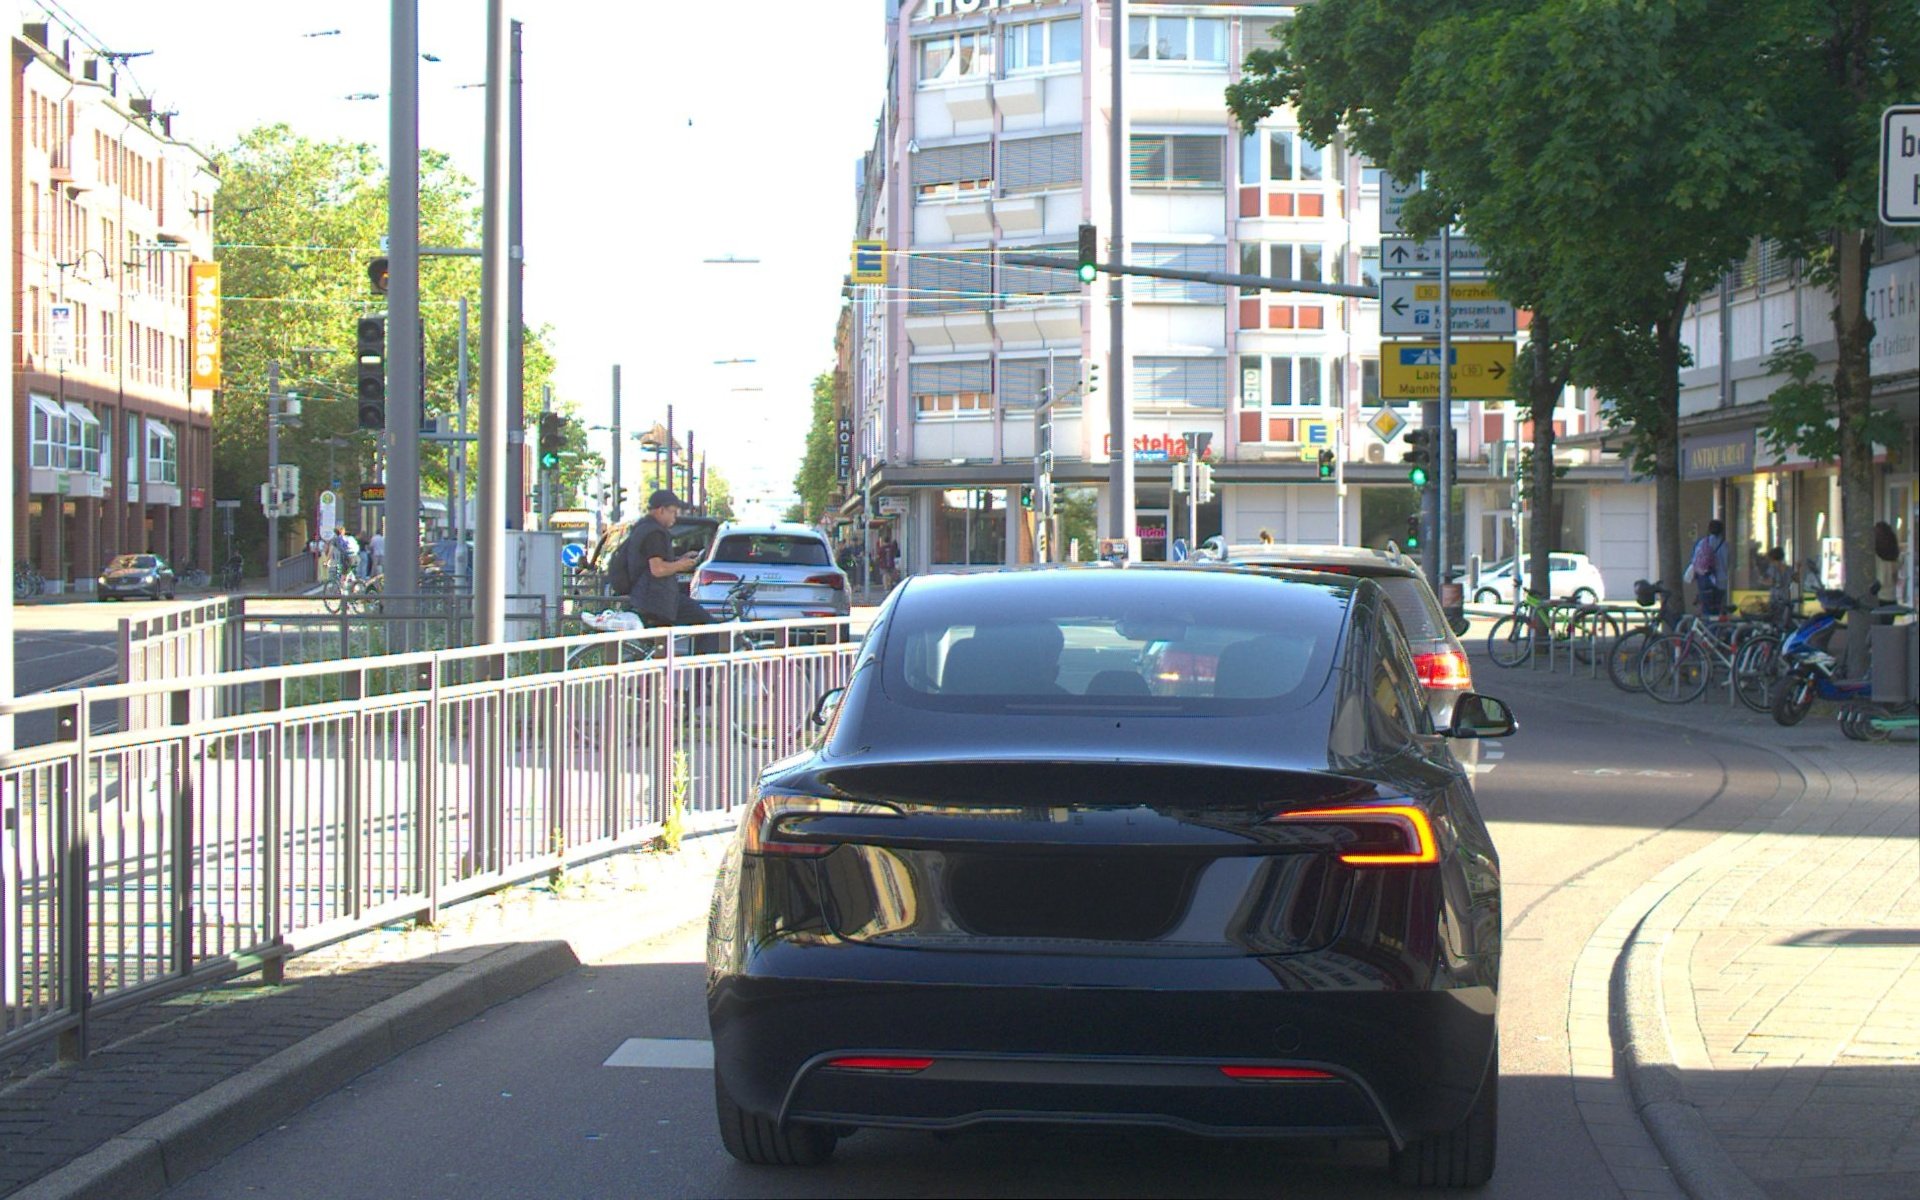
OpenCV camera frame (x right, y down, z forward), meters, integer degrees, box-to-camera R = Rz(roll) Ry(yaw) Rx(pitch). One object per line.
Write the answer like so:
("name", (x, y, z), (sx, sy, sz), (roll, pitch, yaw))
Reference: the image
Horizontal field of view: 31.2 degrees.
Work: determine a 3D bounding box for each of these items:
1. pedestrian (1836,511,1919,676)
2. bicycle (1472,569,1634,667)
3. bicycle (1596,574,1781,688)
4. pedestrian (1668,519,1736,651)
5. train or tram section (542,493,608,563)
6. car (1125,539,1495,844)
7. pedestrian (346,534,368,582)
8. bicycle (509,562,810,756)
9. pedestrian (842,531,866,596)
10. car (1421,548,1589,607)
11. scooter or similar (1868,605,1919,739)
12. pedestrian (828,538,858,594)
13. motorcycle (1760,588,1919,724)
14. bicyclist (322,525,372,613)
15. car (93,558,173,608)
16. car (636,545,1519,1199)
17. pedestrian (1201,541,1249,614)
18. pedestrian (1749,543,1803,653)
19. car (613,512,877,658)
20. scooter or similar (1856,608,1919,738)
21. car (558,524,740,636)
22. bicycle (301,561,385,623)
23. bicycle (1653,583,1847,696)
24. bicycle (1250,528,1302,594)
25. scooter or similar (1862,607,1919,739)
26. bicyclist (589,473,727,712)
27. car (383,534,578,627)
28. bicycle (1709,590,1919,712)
("pedestrian", (9.718, -0.070, 35.962), (0.843, 1.701, 0.880), (1, 0, -1))
("bicycle", (7.291, 0.219, 42.335), (1.890, 1.152, 0.480), (-1, 0, 0))
("bicycle", (7.481, 0.314, 35.303), (1.809, 1.147, 0.435), (0, 0, -4))
("pedestrian", (9.787, -0.197, 45.340), (0.843, 1.715, 0.879), (1, 0, 12))
("train or tram section", (-20.033, -3.697, 179.171), (2.729, 3.530, 10.087), (1, 1, -3))
("car", (1.861, 0.401, 18.934), (1.765, 1.439, 4.528), (1, 1, 4))
("pedestrian", (-19.143, -1.337, 109.119), (0.583, 1.525, 0.638), (1, 0, -18))
("bicycle", (-1.939, 0.373, 22.249), (1.820, 1.207, 0.642), (1, 0, -28))
("pedestrian", (-2.914, -1.007, 94.753), (0.626, 1.776, 0.918), (1, 0, -2))
("car", (13.689, -0.553, 86.386), (3.840, 1.427, 1.804), (0, -1, -5))
("scooter or similar", (7.607, 0.563, 26.891), (0.964, 1.039, 0.160), (0, 1, 3))
("pedestrian", (-3.679, -1.075, 107.923), (0.914, 1.748, 0.839), (1, 0, -1))
("motorcycle", (7.748, 0.475, 29.167), (1.787, 1.126, 0.504), (1, 0, -3))
("bicyclist", (-12.311, -0.621, 69.018), (0.612, 1.765, 0.830), (0, 1, -44))
("car", (-25.035, -0.535, 104.198), (1.817, 1.449, 3.978), (-1, 1, -6))
("car", (0.447, 0.613, 8.981), (1.791, 1.446, 3.939), (1, 2, 7))
("pedestrian", (5.870, -0.498, 76.138), (0.779, 1.571, 0.868), (1, 2, -15))
("pedestrian", (10.603, -0.031, 44.684), (0.645, 1.417, 0.621), (1, 0, 11))
("car", (-2.573, -0.185, 40.369), (1.839, 1.629, 3.486), (1, 1, -27))
("scooter or similar", (7.619, 0.580, 27.290), (0.964, 1.023, 0.160), (0, 1, 3))
("car", (-4.722, -0.315, 51.825), (1.572, 1.612, 3.784), (1, 1, -24))
("bicycle", (-12.410, -0.168, 69.123), (0.627, 1.219, 2.040), (0, 1, -44))
("bicycle", (7.648, 0.380, 33.323), (1.767, 1.053, 0.458), (1, 0, 5))
("bicycle", (7.019, -0.869, 76.410), (0.582, 1.458, 1.686), (0, 1, -16))
("scooter or similar", (7.613, 0.573, 27.089), (0.956, 1.035, 0.160), (0, 1, 3))
("bicyclist", (-1.956, -0.051, 22.237), (0.681, 1.518, 0.635), (1, 0, -28))
("car", (-8.307, -0.347, 59.345), (1.726, 1.546, 3.472), (0, 1, -40))
("bicycle", (7.769, 0.457, 31.283), (1.849, 1.052, 0.399), (-1, 1, -11))
